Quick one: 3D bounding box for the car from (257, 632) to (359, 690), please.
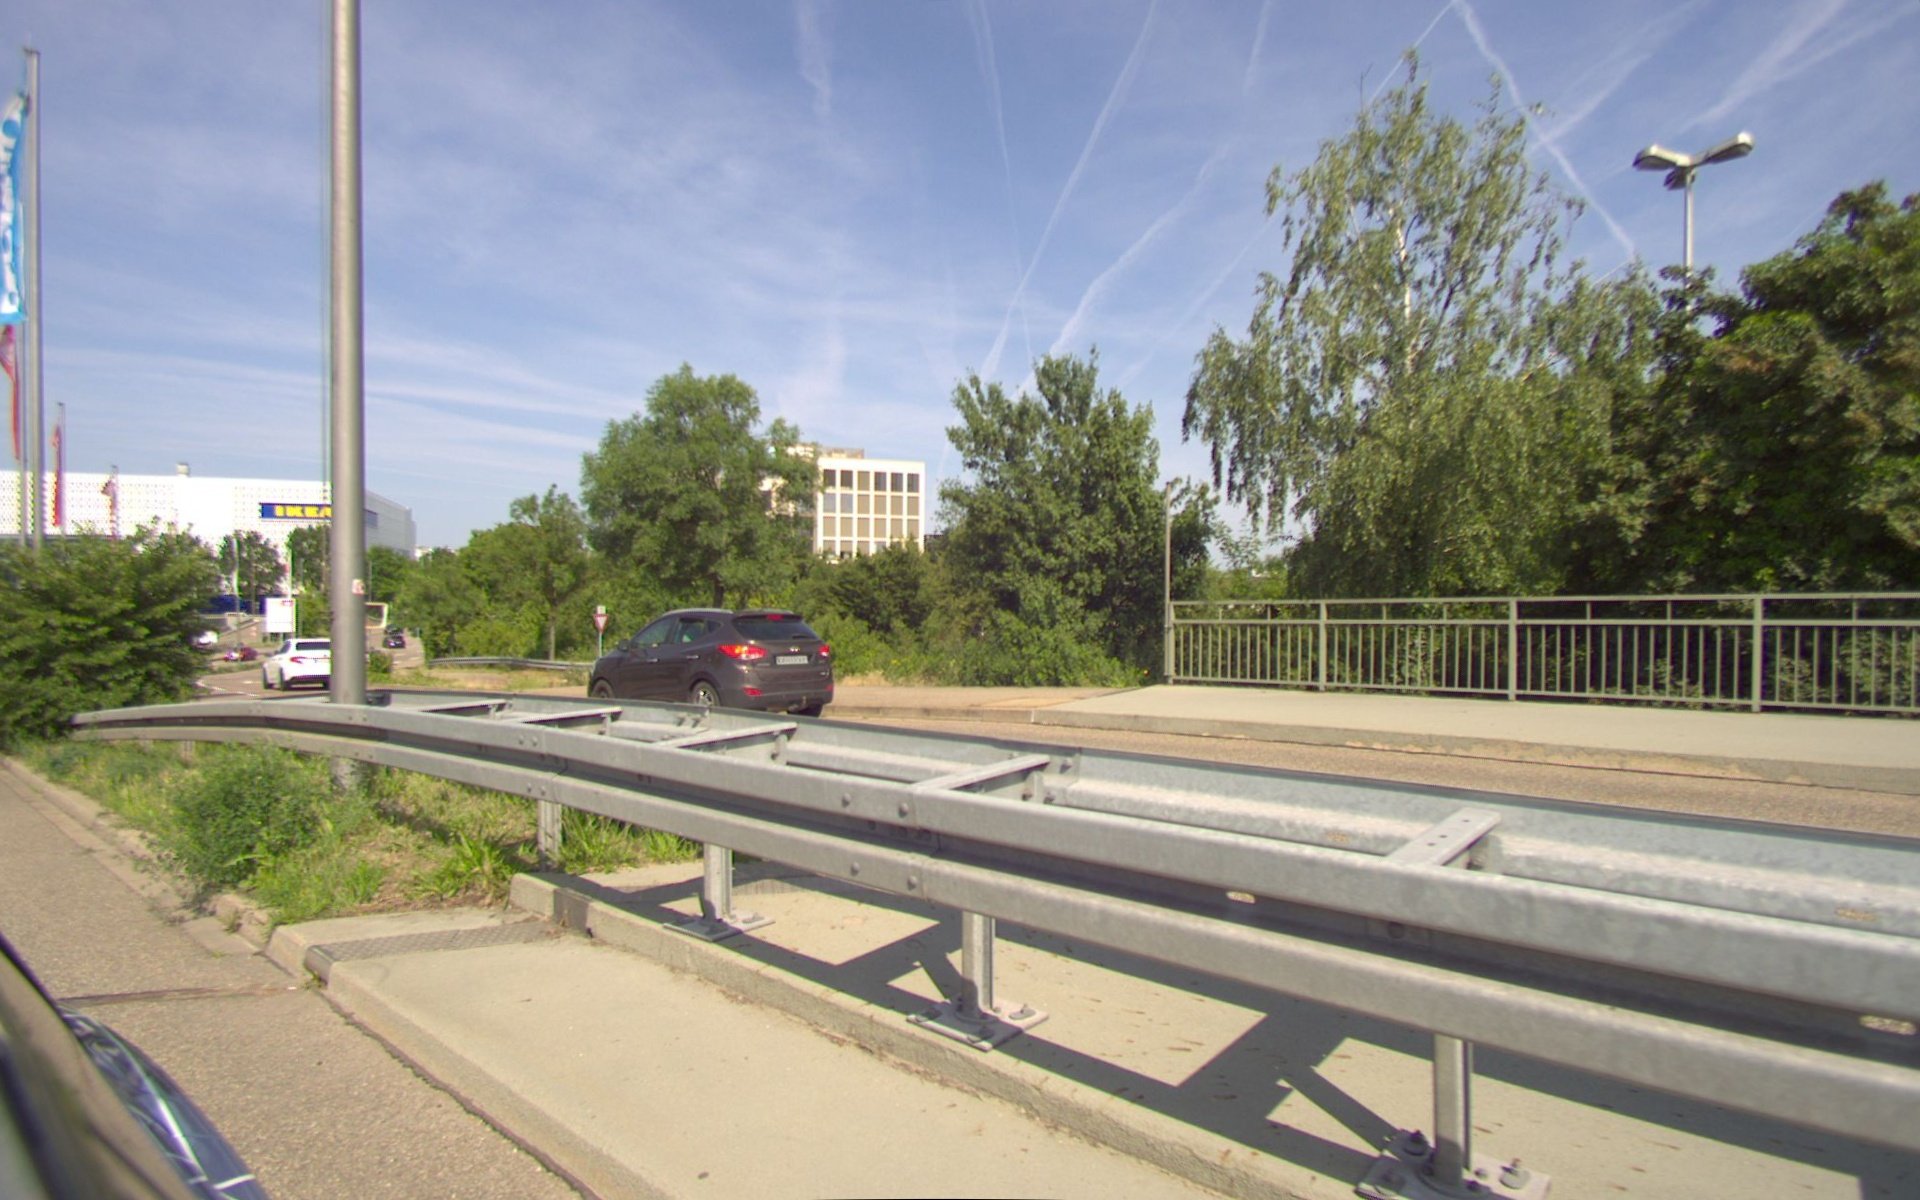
[{"bbox_3d":[-19.154,1.744,29.656,1.775,1.563,4.004,3,-3,-43],"label":"car"}]

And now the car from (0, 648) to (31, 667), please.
[{"bbox_3d":[-92.063,5.511,96.793,4.346,1.745,1.866,0,1,-10],"label":"car"}]

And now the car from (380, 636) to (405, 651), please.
[{"bbox_3d":[-69.020,5.259,123.131,1.833,1.541,4.150,1,0,-41],"label":"car"}]

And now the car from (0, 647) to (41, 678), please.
[{"bbox_3d":[-52.235,3.457,55.643,1.748,1.671,4.155,1,-4,-31],"label":"car"}]

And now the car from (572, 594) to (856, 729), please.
[{"bbox_3d":[-3.617,0.847,14.461,4.222,1.648,1.862,-3,-3,41],"label":"car"}]

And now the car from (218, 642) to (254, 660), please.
[{"bbox_3d":[-71.331,5.026,99.779,1.795,1.485,4.013,1,0,-19],"label":"car"}]

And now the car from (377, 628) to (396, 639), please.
[{"bbox_3d":[-88.160,5.157,155.605,1.796,1.485,4.012,1,0,-16],"label":"car"}]
